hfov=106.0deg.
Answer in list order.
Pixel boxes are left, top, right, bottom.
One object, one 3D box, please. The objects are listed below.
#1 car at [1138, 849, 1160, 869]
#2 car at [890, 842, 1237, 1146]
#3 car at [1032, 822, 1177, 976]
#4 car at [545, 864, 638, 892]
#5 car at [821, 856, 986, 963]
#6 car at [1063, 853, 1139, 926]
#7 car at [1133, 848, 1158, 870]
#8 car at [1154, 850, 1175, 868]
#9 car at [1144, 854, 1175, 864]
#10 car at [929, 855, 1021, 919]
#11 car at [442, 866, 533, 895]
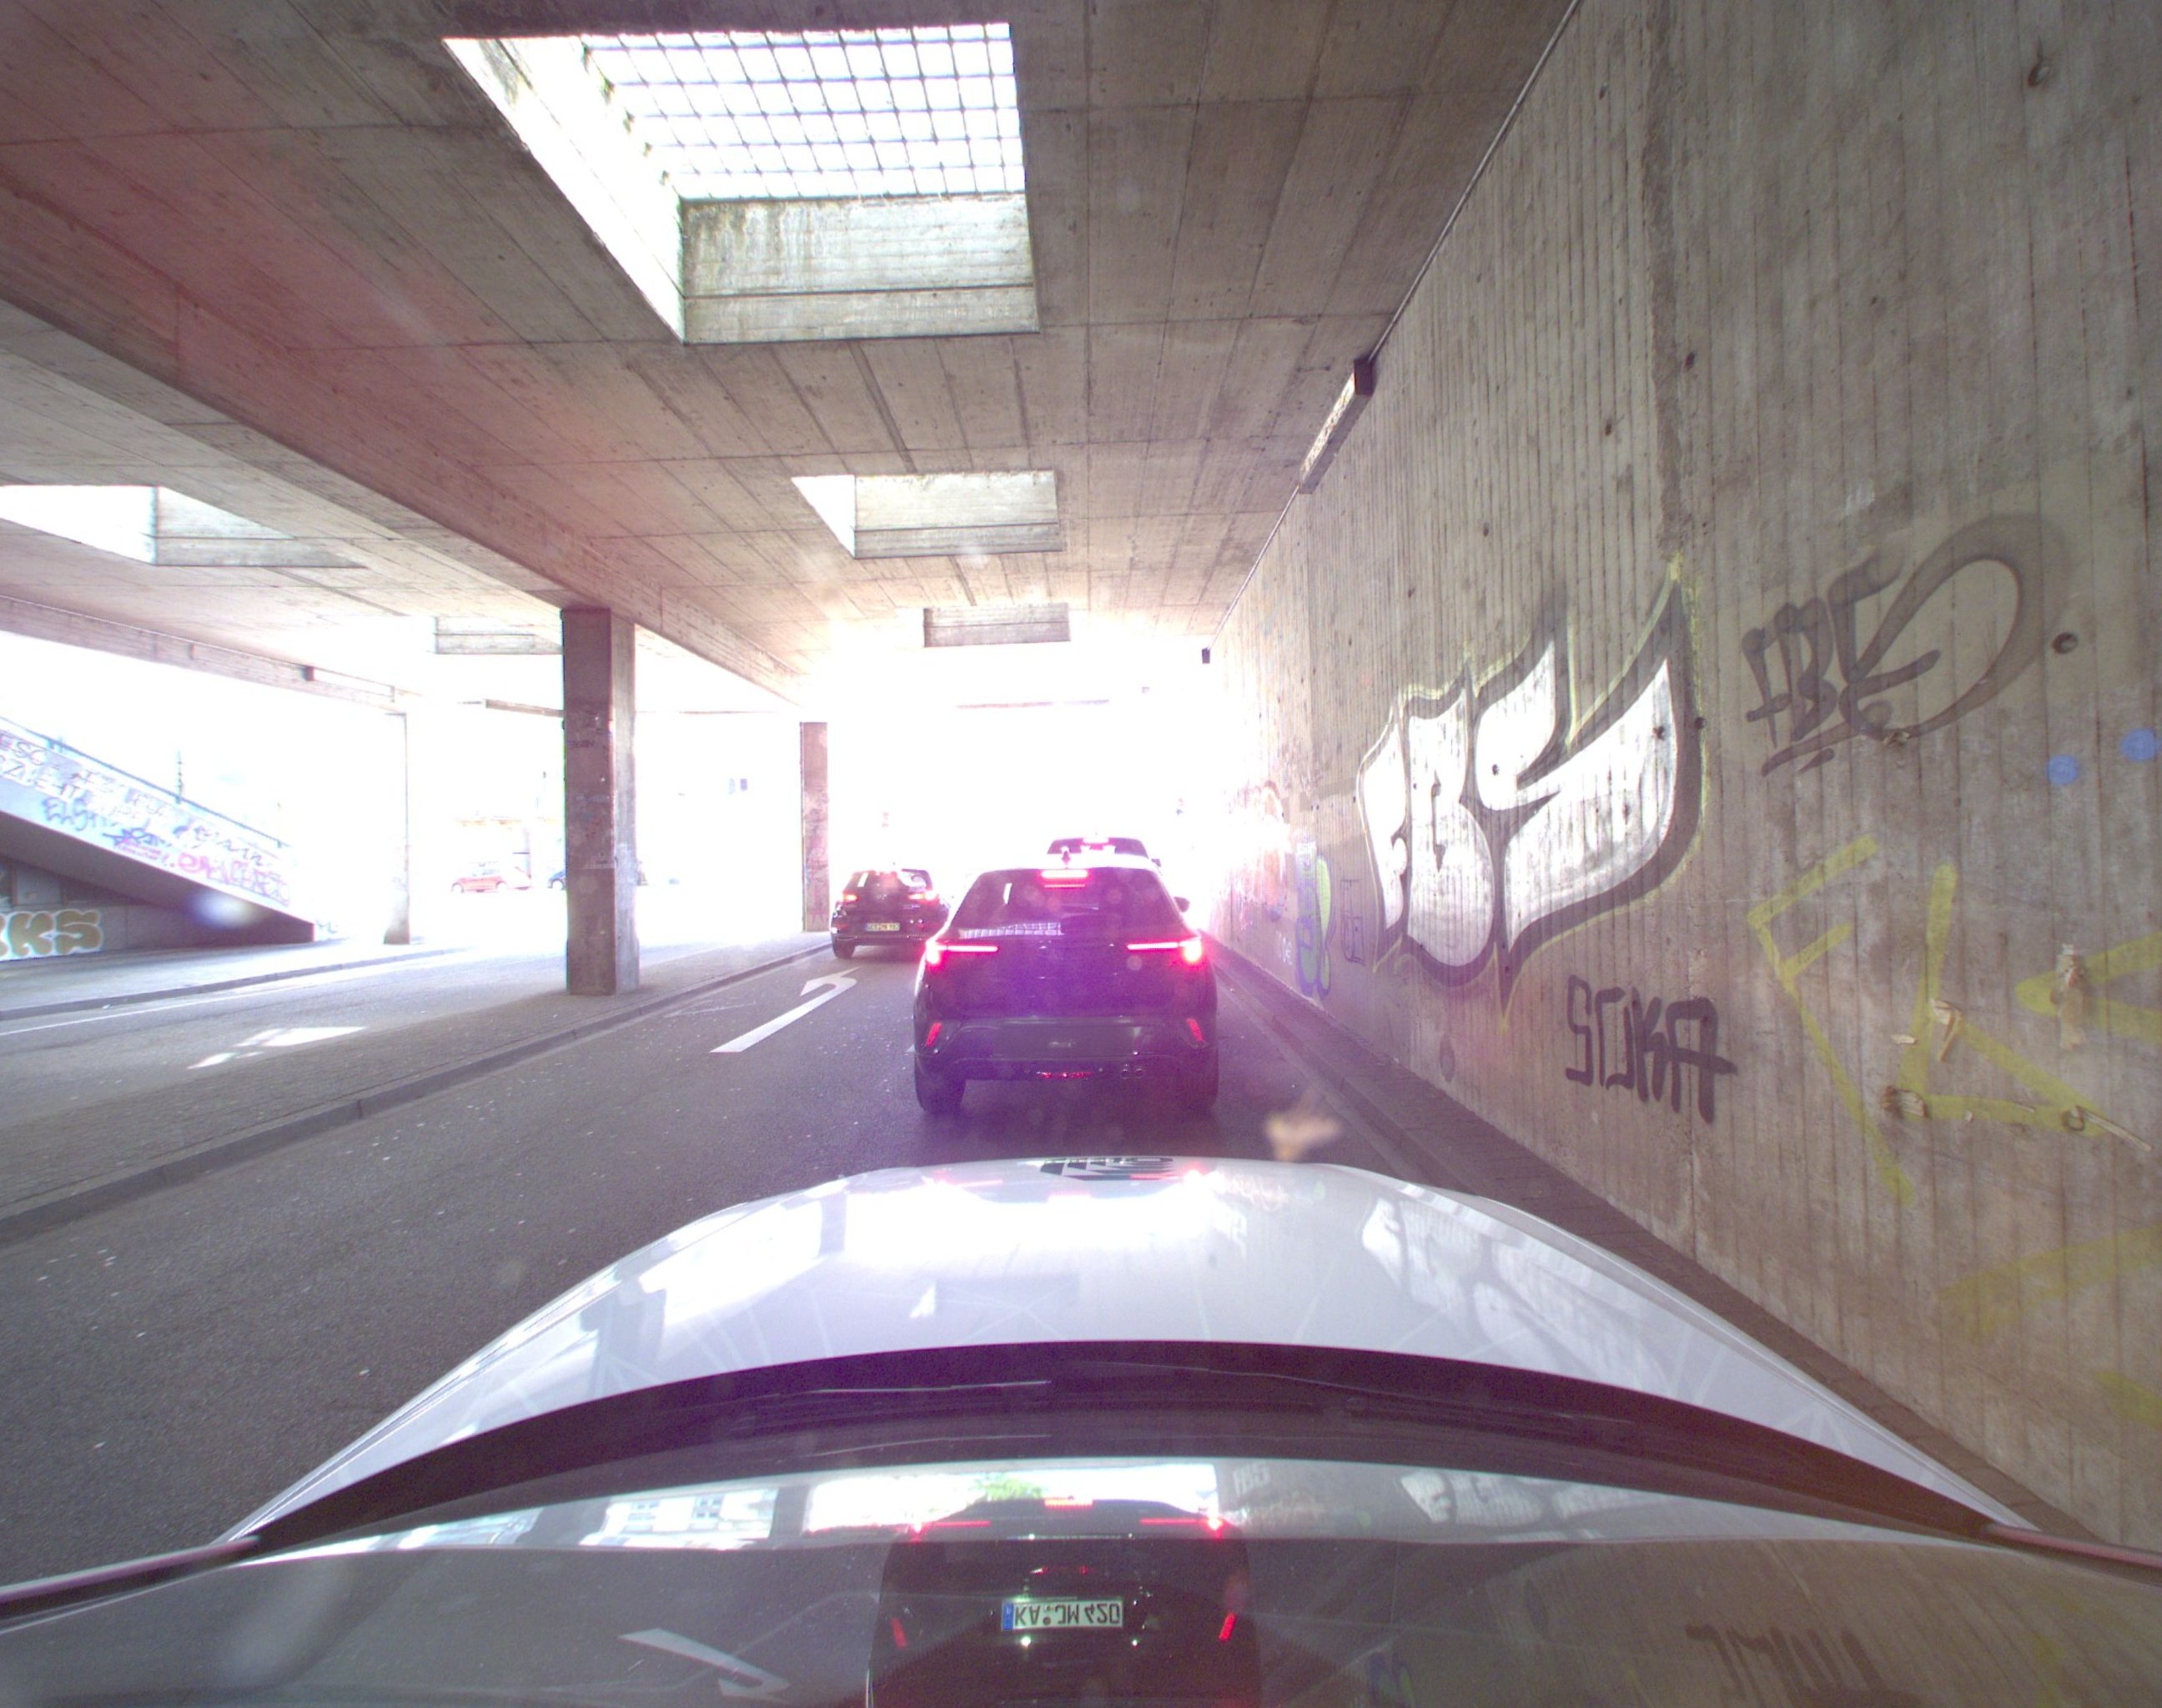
[{"bbox_3d":[5.754,0.419,68.361,1.745,1.667,3.950,0,-1,6],"label":"car"},{"bbox_3d":[-0.027,0.723,6.230,1.755,1.531,4.091,-1,0,2],"label":"car"},{"bbox_3d":[0.357,0.563,12.169,1.755,1.883,4.148,-1,0,2],"label":"car"},{"bbox_3d":[-27.173,1.324,45.295,4.096,1.475,1.737,-1,-1,0],"label":"car"},{"bbox_3d":[-2.748,0.797,13.489,1.755,1.480,3.846,-1,0,2],"label":"car"},{"bbox_3d":[0.493,0.758,19.388,1.603,1.513,4.055,-1,0,2],"label":"car"},{"bbox_3d":[4.967,0.375,62.257,1.745,1.667,3.950,0,-1,6],"label":"car"},{"bbox_3d":[8.275,0.498,80.412,1.742,1.667,3.956,-1,-1,11],"label":"car"},{"bbox_3d":[12.841,0.851,133.693,4.814,1.667,1.812,0,-1,-19],"label":"car"},{"bbox_3d":[-2.659,0.793,21.217,1.755,1.480,3.846,-1,0,2],"label":"car"},{"bbox_3d":[-32.929,1.448,45.273,3.748,1.475,1.749,-1,-1,0],"label":"car"}]
